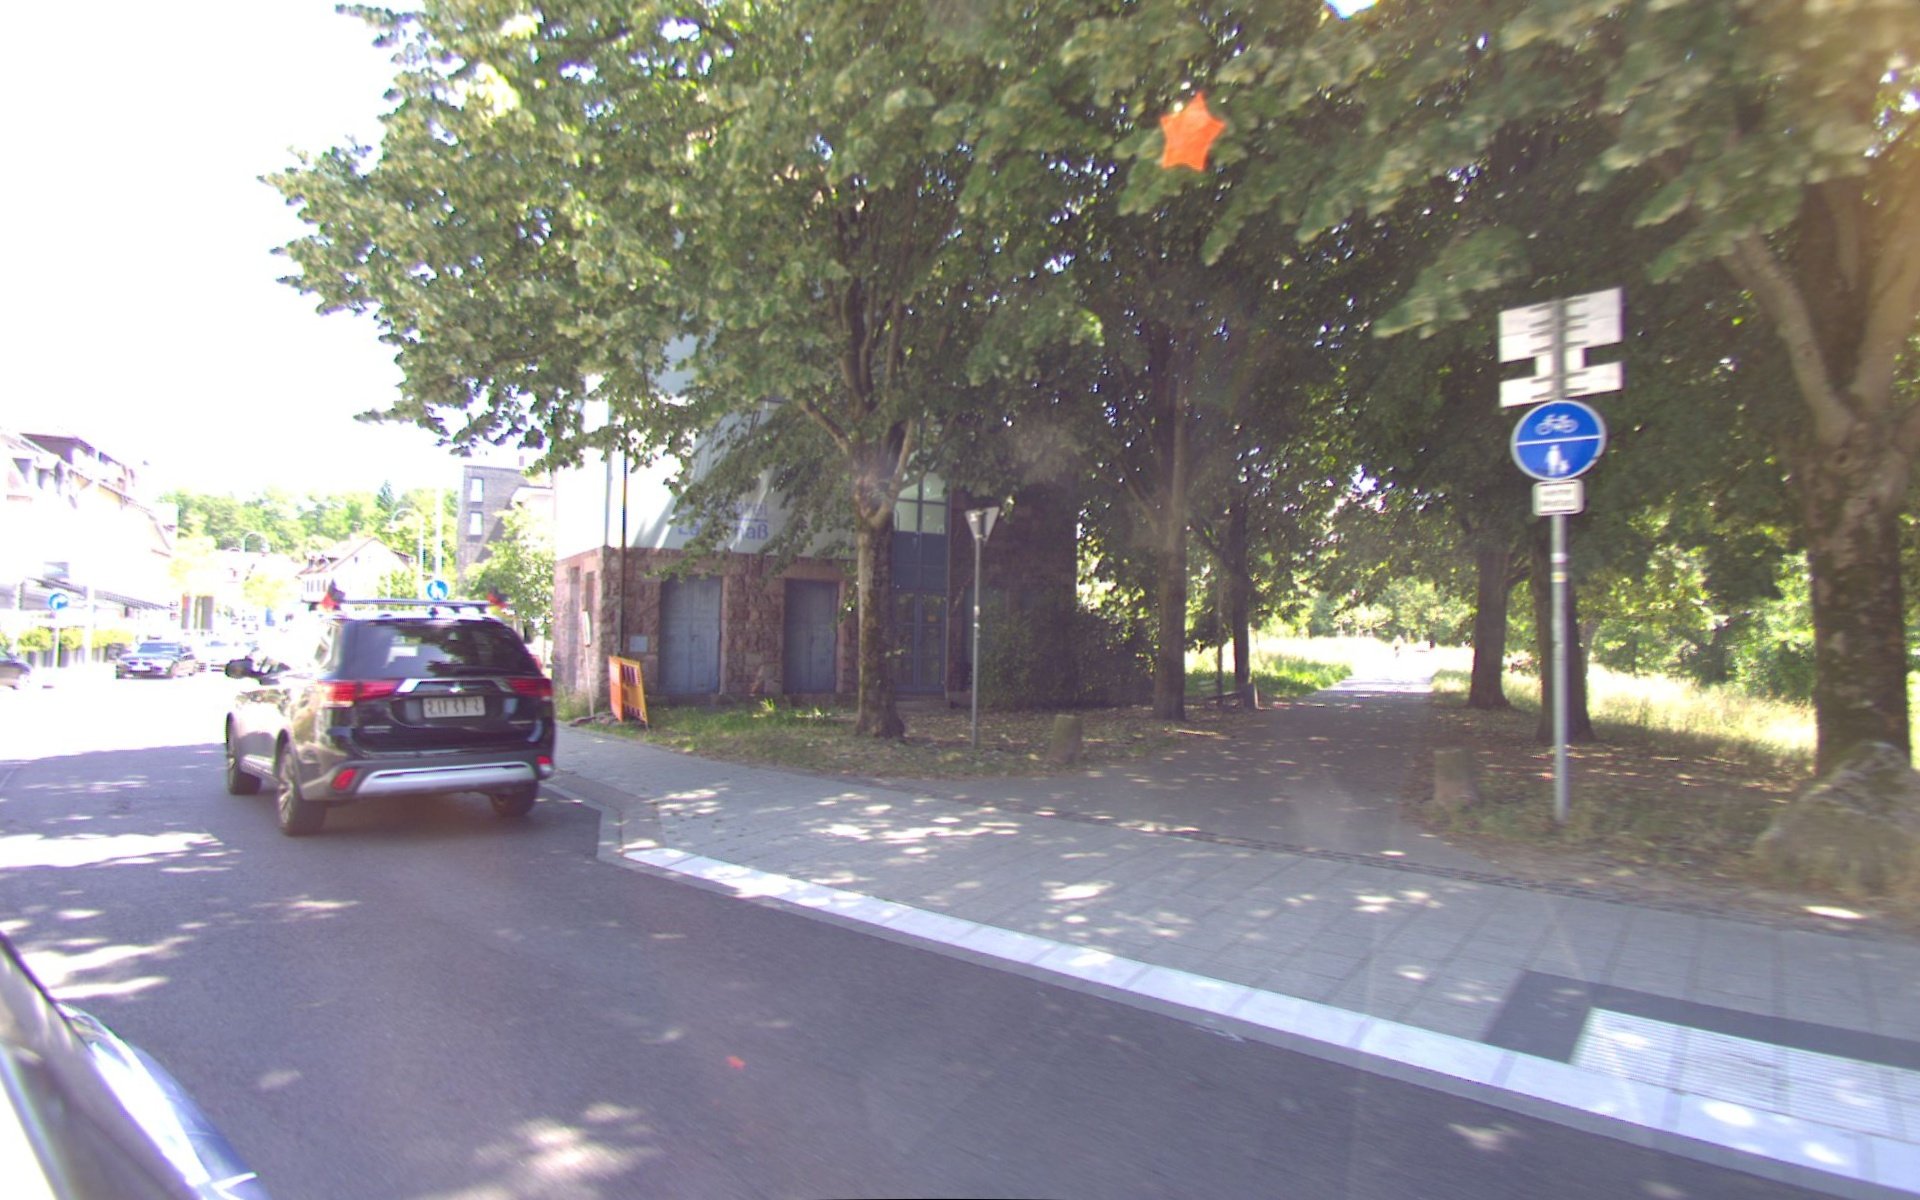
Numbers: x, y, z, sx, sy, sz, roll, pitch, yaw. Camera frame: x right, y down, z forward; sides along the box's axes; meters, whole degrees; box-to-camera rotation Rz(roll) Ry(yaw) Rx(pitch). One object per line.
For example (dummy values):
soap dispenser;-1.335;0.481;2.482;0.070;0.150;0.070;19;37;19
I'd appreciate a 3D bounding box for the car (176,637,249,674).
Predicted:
car;-33.937;2.497;46.065;1.713;1.497;4.067;4;-3;-23

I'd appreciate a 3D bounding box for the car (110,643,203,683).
car;-31.035;2.394;39.224;1.700;1.416;4.624;3;-3;-24

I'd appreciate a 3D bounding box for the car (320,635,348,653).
car;-56.843;3.999;91.888;1.868;1.565;4.810;1;-2;-35

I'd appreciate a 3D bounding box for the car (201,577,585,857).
car;-5.023;0.857;8.661;1.720;1.786;4.340;5;-5;-44

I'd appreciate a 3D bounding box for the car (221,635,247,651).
car;-71.512;4.254;99.673;1.655;1.526;3.397;2;-2;-29

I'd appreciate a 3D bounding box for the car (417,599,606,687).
car;-15.145;1.380;34.286;5.686;2.753;2.299;0;-1;-28

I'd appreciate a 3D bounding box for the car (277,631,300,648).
car;-71.759;4.208;108.147;1.787;1.714;4.085;2;-3;-36

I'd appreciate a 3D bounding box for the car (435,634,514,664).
car;-27.226;2.709;56.723;3.931;1.527;2.006;0;-1;-27

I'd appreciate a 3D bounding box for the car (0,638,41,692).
car;-28.063;1.827;28.413;1.846;1.503;3.873;3;-3;-18

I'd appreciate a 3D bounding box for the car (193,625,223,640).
car;-80.983;3.443;108.928;4.323;1.484;1.711;-1;-4;43
